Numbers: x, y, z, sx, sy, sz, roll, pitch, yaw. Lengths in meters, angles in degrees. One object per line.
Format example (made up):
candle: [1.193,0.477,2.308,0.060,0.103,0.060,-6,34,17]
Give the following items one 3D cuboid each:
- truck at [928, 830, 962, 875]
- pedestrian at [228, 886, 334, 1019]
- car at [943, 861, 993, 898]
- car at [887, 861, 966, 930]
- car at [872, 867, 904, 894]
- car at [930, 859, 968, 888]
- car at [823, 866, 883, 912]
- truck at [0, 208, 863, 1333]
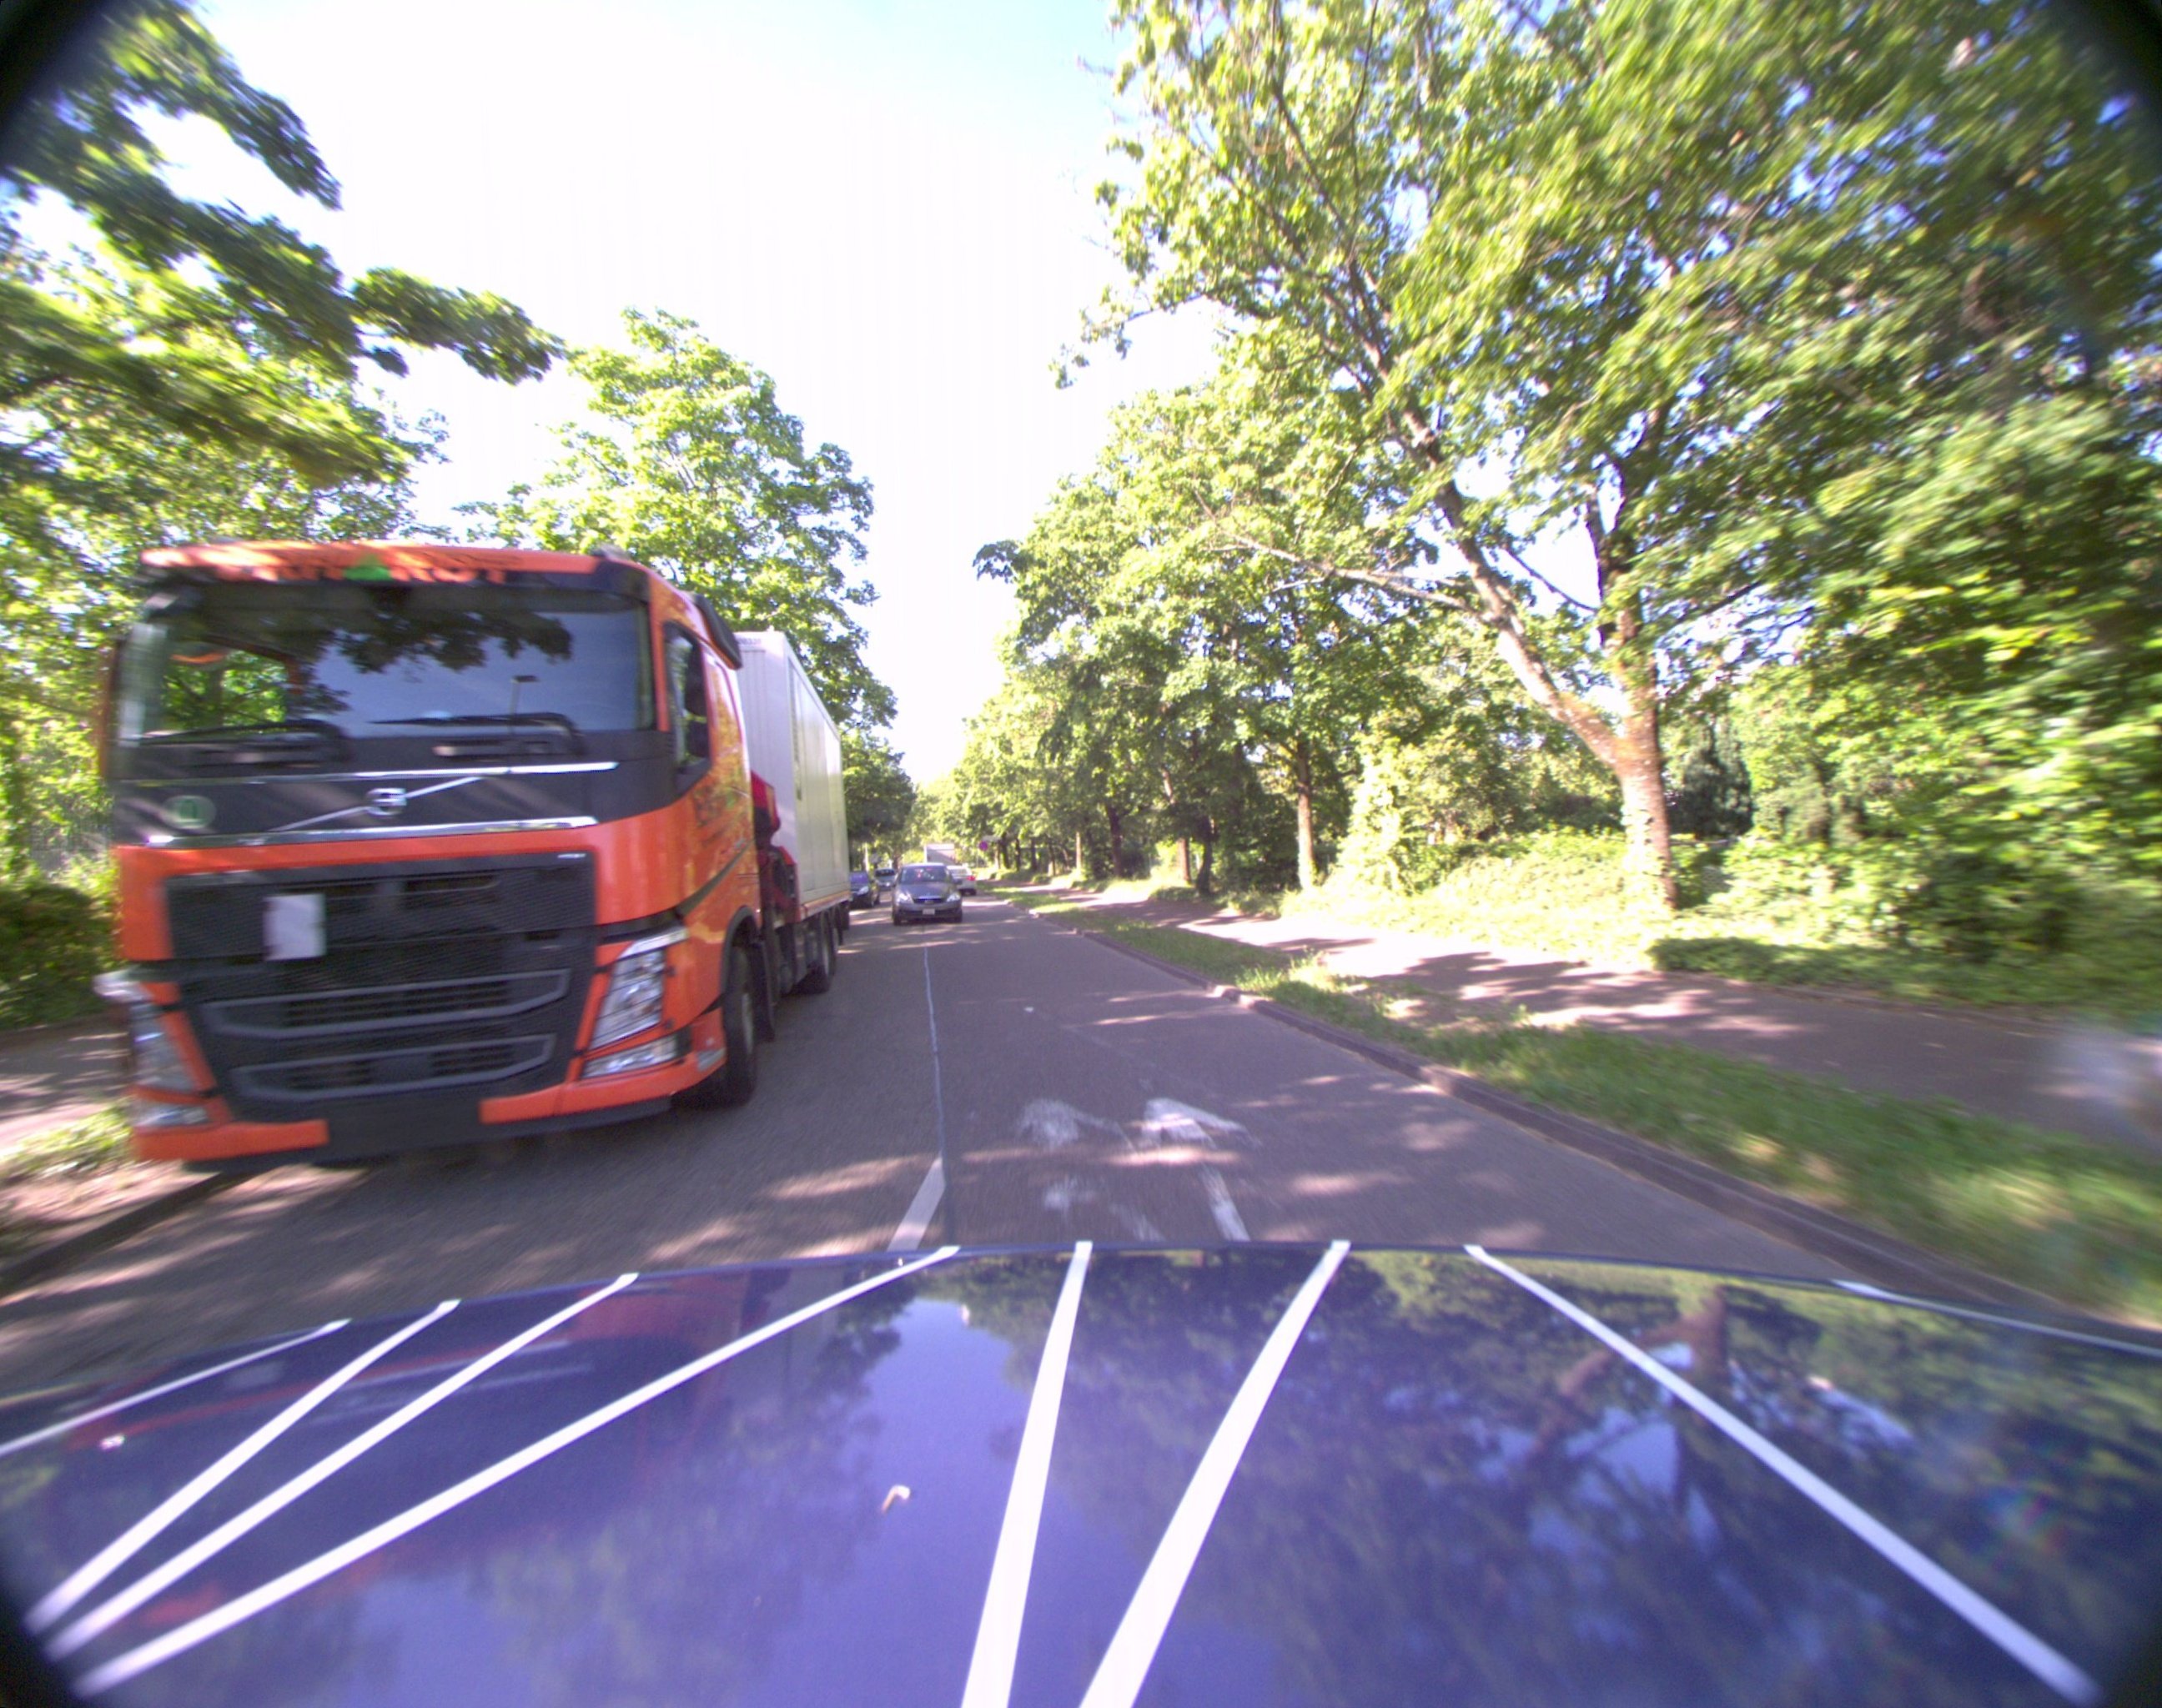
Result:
truck: [-13.083,-0.130,72.564,2.806,3.995,9.615,-1,1,-12]
pedestrian: [-10.388,1.249,9.893,0.642,1.629,0.640,-3,0,-9]
car: [-5.493,1.181,36.532,2.001,1.575,3.996,-3,0,-13]
car: [-4.338,1.085,20.925,1.857,1.635,3.751,-3,-1,-15]
car: [-13.520,1.821,53.257,2.001,1.698,4.326,-3,0,-14]
car: [-7.963,1.137,45.641,1.977,1.575,3.996,-3,0,-13]
car: [-8.735,1.281,29.223,1.982,1.546,4.147,-3,0,-16]
truck: [-4.543,-0.287,8.236,3.169,4.319,10.573,-3,0,-11]
